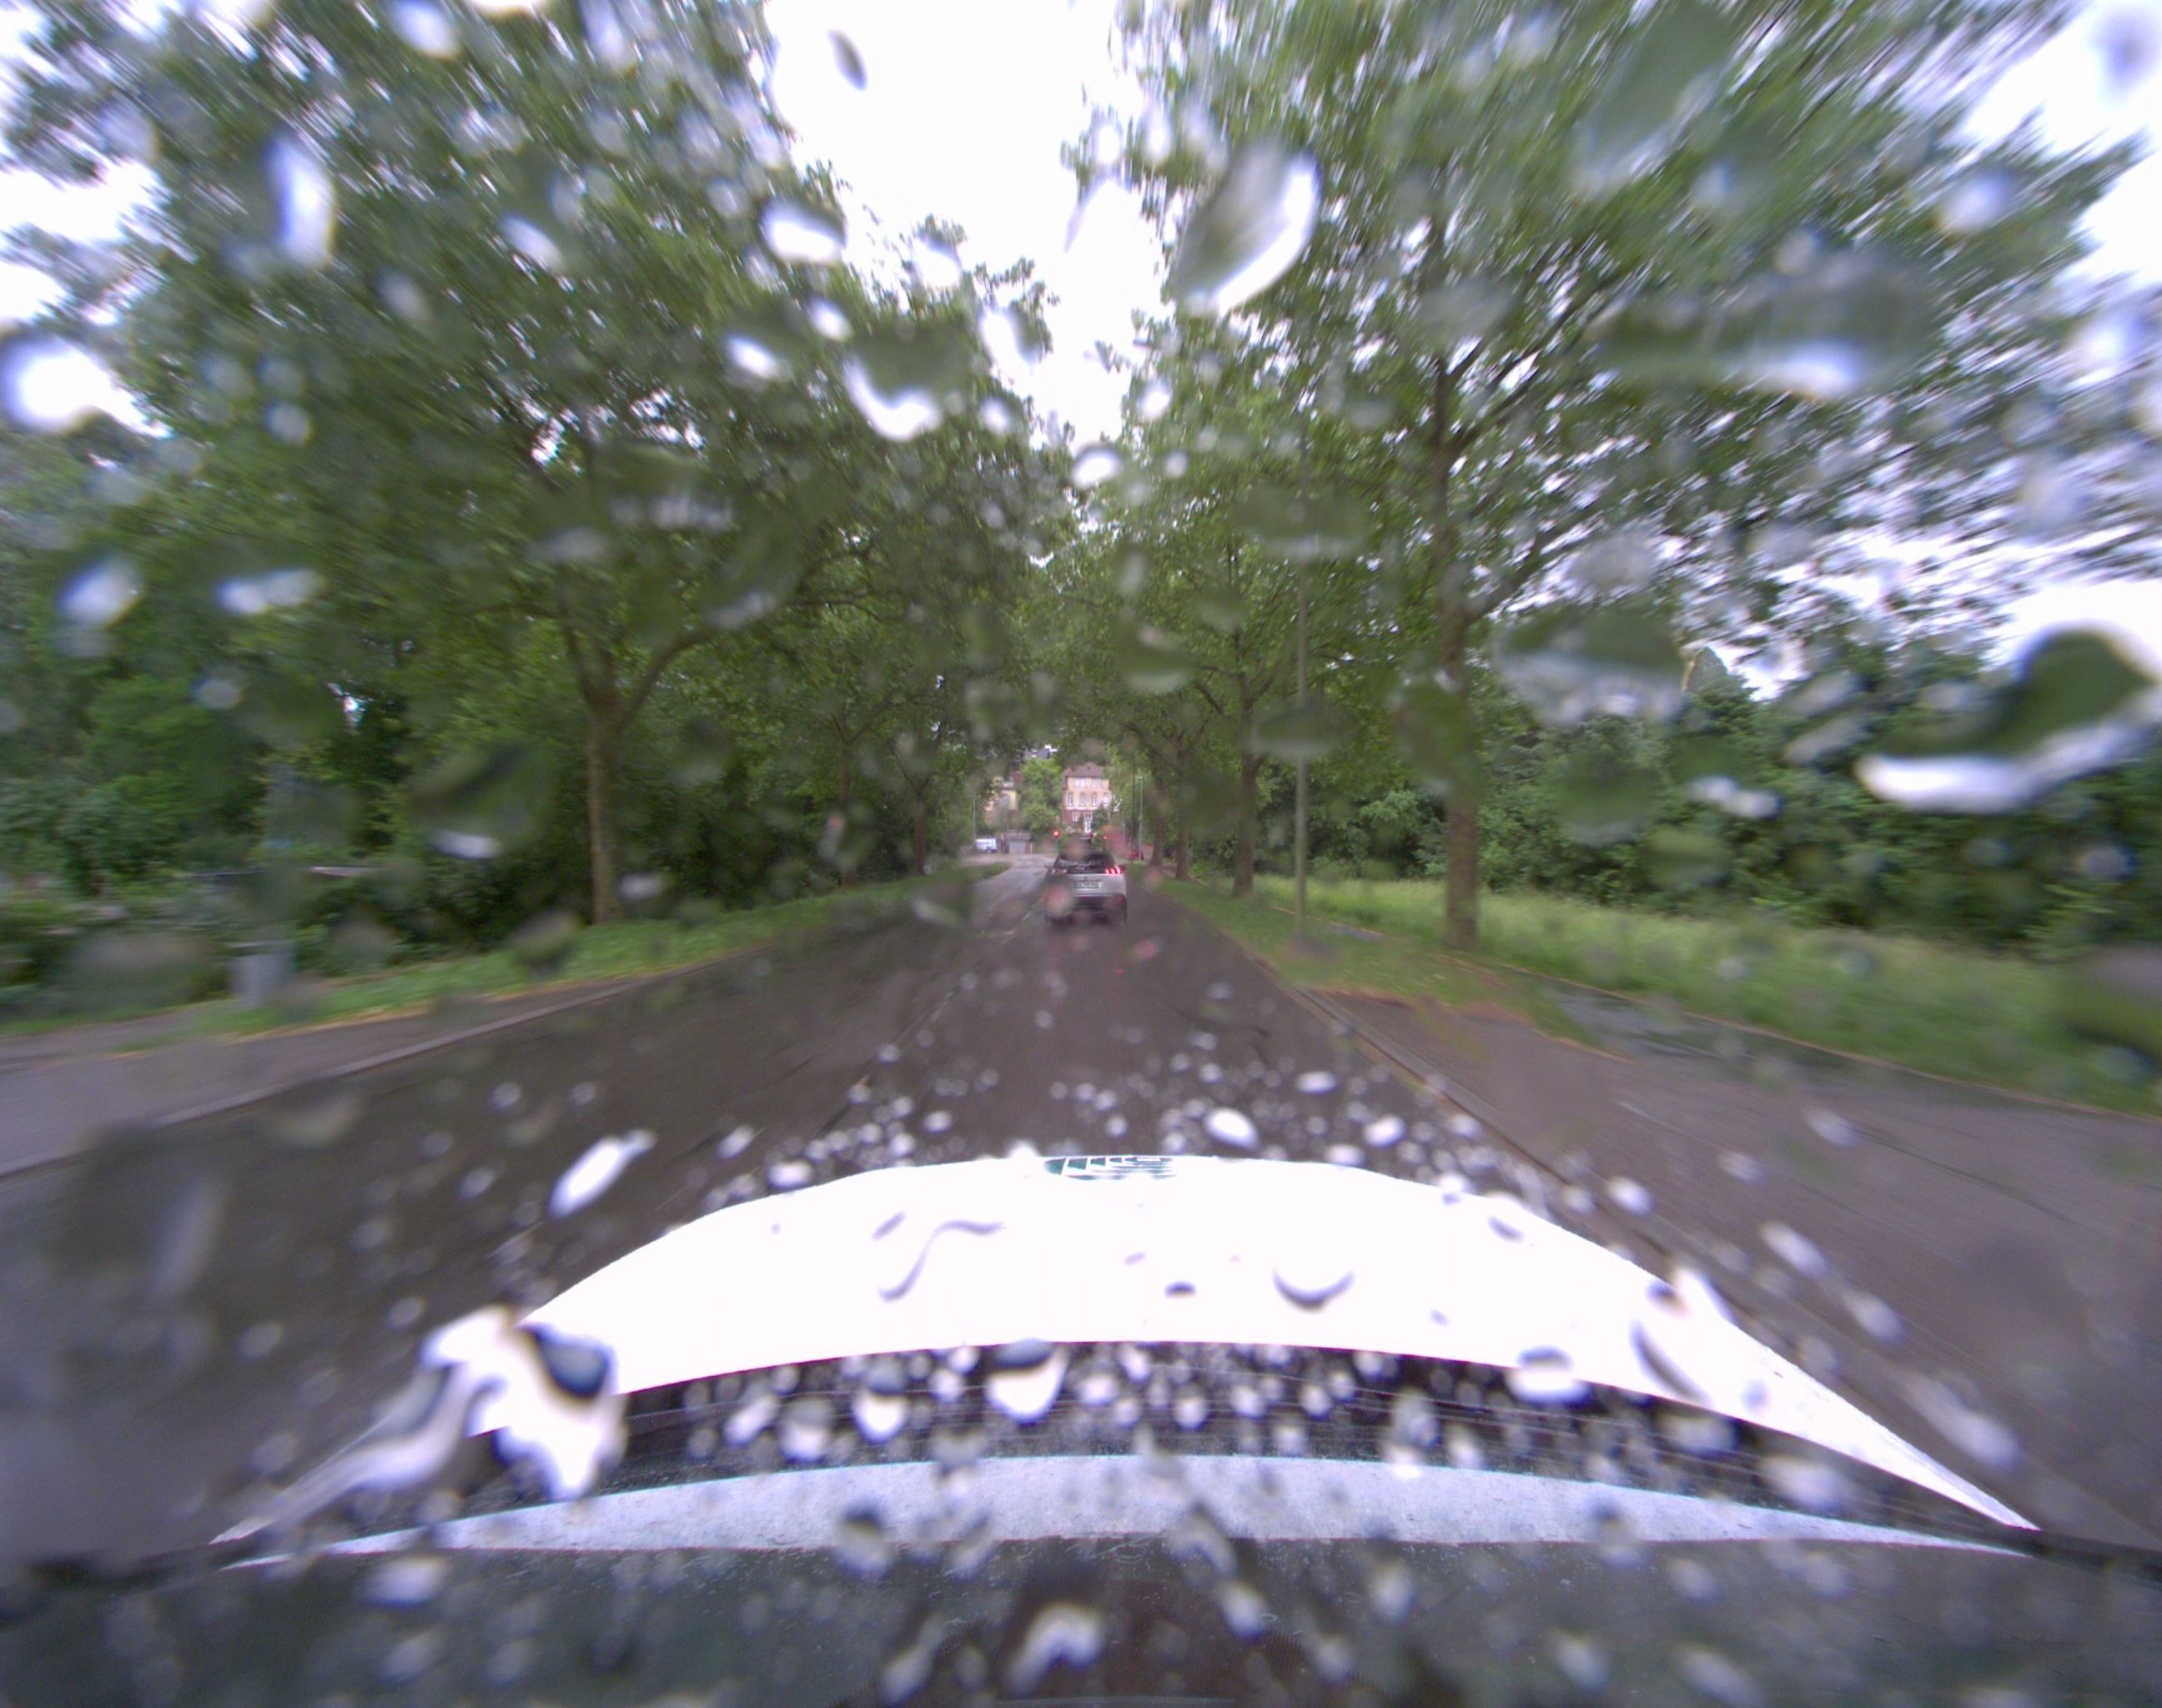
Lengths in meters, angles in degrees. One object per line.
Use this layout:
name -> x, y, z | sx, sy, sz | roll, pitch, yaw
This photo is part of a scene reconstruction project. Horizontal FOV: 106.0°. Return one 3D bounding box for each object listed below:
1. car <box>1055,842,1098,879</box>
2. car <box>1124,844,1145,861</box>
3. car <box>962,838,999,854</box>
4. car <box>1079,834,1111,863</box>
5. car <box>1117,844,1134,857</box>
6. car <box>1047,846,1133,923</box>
car -> -0.185, 0.269, 37.952 | 1.826, 1.456, 4.658 | 3, 2, 0
car -> 6.021, -0.214, 91.915 | 1.816, 1.517, 3.740 | 7, 2, -4
car -> -16.461, -1.300, 133.662 | 5.641, 2.494, 2.315 | 1, -1, 0
car -> 0.886, -0.407, 52.723 | 1.756, 1.711, 4.597 | 2, 2, -2
car -> 5.554, -0.493, 101.608 | 1.744, 1.491, 3.598 | 3, 0, -1
car -> 0.158, 0.594, 18.765 | 1.747, 1.536, 4.366 | -1, 1, -1
